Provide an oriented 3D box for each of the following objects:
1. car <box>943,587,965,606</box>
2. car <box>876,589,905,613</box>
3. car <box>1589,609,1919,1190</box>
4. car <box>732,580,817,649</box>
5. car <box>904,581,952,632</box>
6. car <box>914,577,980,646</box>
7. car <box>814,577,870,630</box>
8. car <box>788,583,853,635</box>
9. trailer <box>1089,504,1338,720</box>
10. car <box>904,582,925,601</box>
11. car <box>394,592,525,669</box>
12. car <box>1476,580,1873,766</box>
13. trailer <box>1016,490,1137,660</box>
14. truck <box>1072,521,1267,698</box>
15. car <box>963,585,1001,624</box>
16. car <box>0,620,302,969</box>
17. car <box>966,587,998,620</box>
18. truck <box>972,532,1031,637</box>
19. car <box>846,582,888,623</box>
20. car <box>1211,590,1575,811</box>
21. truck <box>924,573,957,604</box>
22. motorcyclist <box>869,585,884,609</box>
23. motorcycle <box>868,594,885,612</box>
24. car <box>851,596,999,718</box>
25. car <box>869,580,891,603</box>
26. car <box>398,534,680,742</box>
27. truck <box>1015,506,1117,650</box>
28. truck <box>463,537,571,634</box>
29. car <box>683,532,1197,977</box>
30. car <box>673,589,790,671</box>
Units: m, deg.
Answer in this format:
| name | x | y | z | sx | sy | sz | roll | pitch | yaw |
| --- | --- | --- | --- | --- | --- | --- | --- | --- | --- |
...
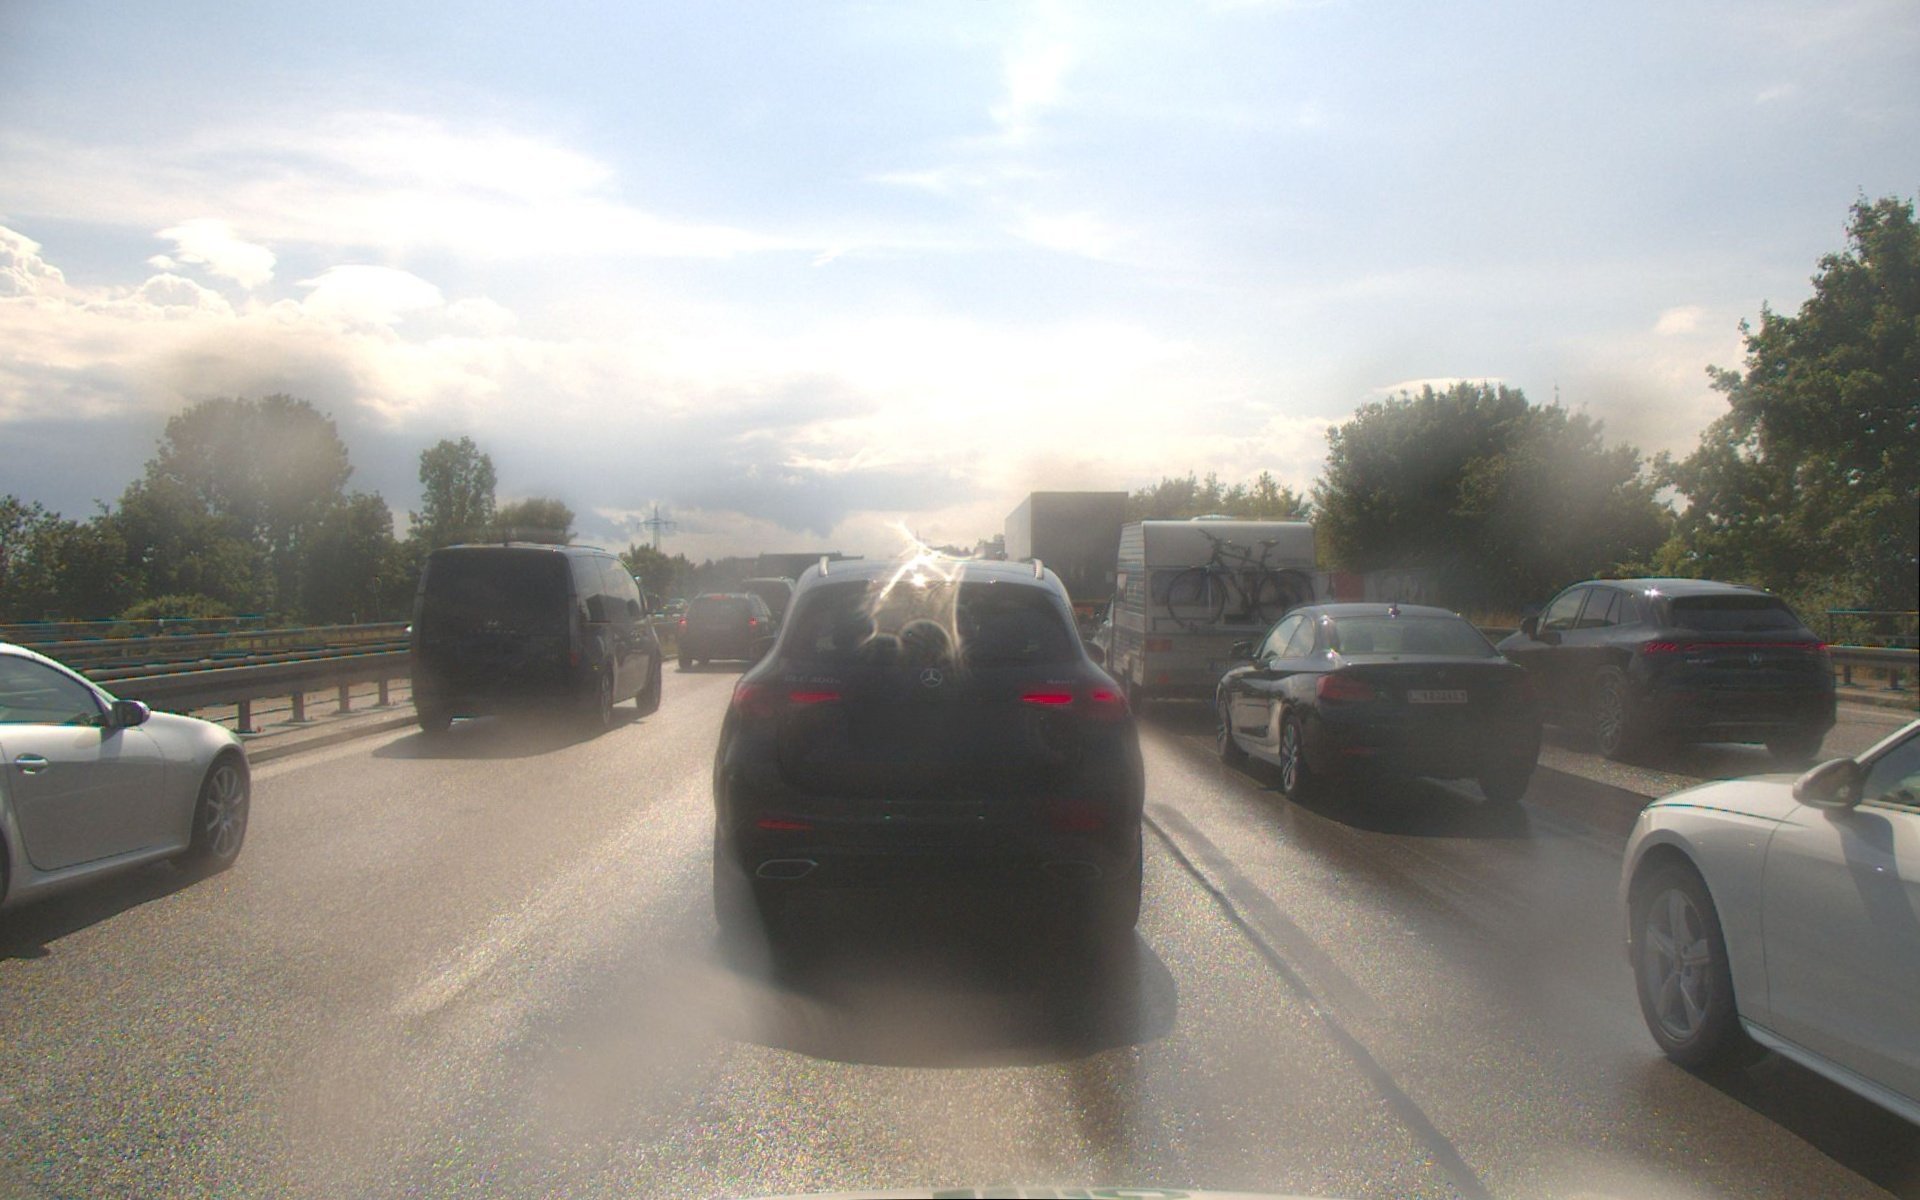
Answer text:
| name | x | y | z | sx | sy | sz | roll | pitch | yaw |
| --- | --- | --- | --- | --- | --- | --- | --- | --- | --- |
| car | -0.592 | -0.318 | 156.576 | 1.839 | 1.791 | 3.997 | 1 | 0 | -4 |
| car | -5.329 | 0.078 | 127.179 | 1.953 | 1.644 | 4.000 | 4 | 0 | 0 |
| car | 3.330 | 0.773 | 3.847 | 1.790 | 1.450 | 4.508 | 2 | -1 | -3 |
| car | -4.932 | 0.376 | 44.415 | 1.953 | 1.750 | 3.998 | 1 | 0 | -2 |
| car | -1.325 | 0.263 | 70.600 | 1.953 | 2.049 | 4.000 | 1 | 0 | 0 |
| car | -0.406 | 0.359 | 54.406 | 1.953 | 2.048 | 4.000 | 4 | 0 | 0 |
| car | -4.926 | 0.129 | 69.683 | 1.953 | 2.048 | 4.000 | 4 | 0 | 0 |
| car | -4.976 | 0.305 | 59.421 | 1.953 | 1.803 | 4.000 | 0 | 0 | 0 |
| trailer | 3.261 | 0.149 | 22.858 | 2.326 | 2.526 | 6.522 | 1 | 0 | -1 |
| car | -4.213 | -0.783 | 153.600 | 1.839 | 1.791 | 3.997 | 1 | 0 | -4 |
| car | -12.023 | 0.718 | 40.005 | 1.953 | 1.760 | 4.205 | 0 | -1 | -1 |
| car | 6.915 | 0.615 | 16.650 | 1.953 | 1.609 | 4.652 | 0 | 0 | -1 |
| trailer | 3.080 | -0.634 | 45.911 | 2.945 | 4.239 | 8.537 | 1 | 0 | 1 |
| truck | 3.218 | 0.143 | 26.733 | 2.326 | 2.520 | 5.755 | 1 | 0 | -1 |
| car | 1.191 | 0.216 | 91.116 | 1.953 | 2.049 | 4.000 | 2 | 0 | 0 |
| car | -4.588 | 0.776 | 7.433 | 1.689 | 1.300 | 4.063 | 0 | 0 | -1 |
| car | 1.444 | 0.220 | 108.616 | 1.953 | 2.048 | 4.000 | 4 | 0 | 0 |
| truck | 1.977 | -0.748 | 81.855 | 2.451 | 4.914 | 7.540 | 1 | 0 | -2 |
| car | -4.972 | 0.121 | 88.435 | 1.953 | 2.049 | 4.000 | 2 | 0 | 0 |
| car | 3.282 | 0.687 | 13.431 | 1.811 | 1.489 | 4.255 | -1 | 0 | -1 |
| truck | -2.689 | -1.574 | 227.297 | 3.767 | 4.087 | 11.210 | 1 | 0 | -5 |
| motorcyclist | -5.969 | -0.224 | 118.657 | 1.042 | 1.748 | 0.785 | 0 | 0 | 0 |
| motorcycle | -5.973 | 0.213 | 118.520 | 1.052 | 1.293 | 2.690 | 0 | 0 | 0 |
| car | -0.399 | 0.654 | 21.196 | 1.721 | 1.411 | 3.945 | 0 | 0 | 0 |
| car | -7.494 | -0.800 | 154.617 | 1.954 | 2.048 | 3.998 | 4 | 0 | -3 |
| car | -4.608 | 0.359 | 18.978 | 1.953 | 2.049 | 5.268 | 0 | 0 | -1 |
| truck | 3.223 | -0.652 | 51.648 | 2.933 | 4.239 | 5.241 | 1 | 0 | 1 |
| truck | -20.353 | -0.624 | 76.470 | 2.944 | 4.175 | 7.684 | -2 | 0 | -1 |
| car | -0.102 | 0.589 | 8.505 | 1.953 | 1.690 | 4.405 | 0 | 0 | -1 |
| car | -4.490 | 0.546 | 33.013 | 1.721 | 1.543 | 4.209 | 0 | 0 | 0 |
